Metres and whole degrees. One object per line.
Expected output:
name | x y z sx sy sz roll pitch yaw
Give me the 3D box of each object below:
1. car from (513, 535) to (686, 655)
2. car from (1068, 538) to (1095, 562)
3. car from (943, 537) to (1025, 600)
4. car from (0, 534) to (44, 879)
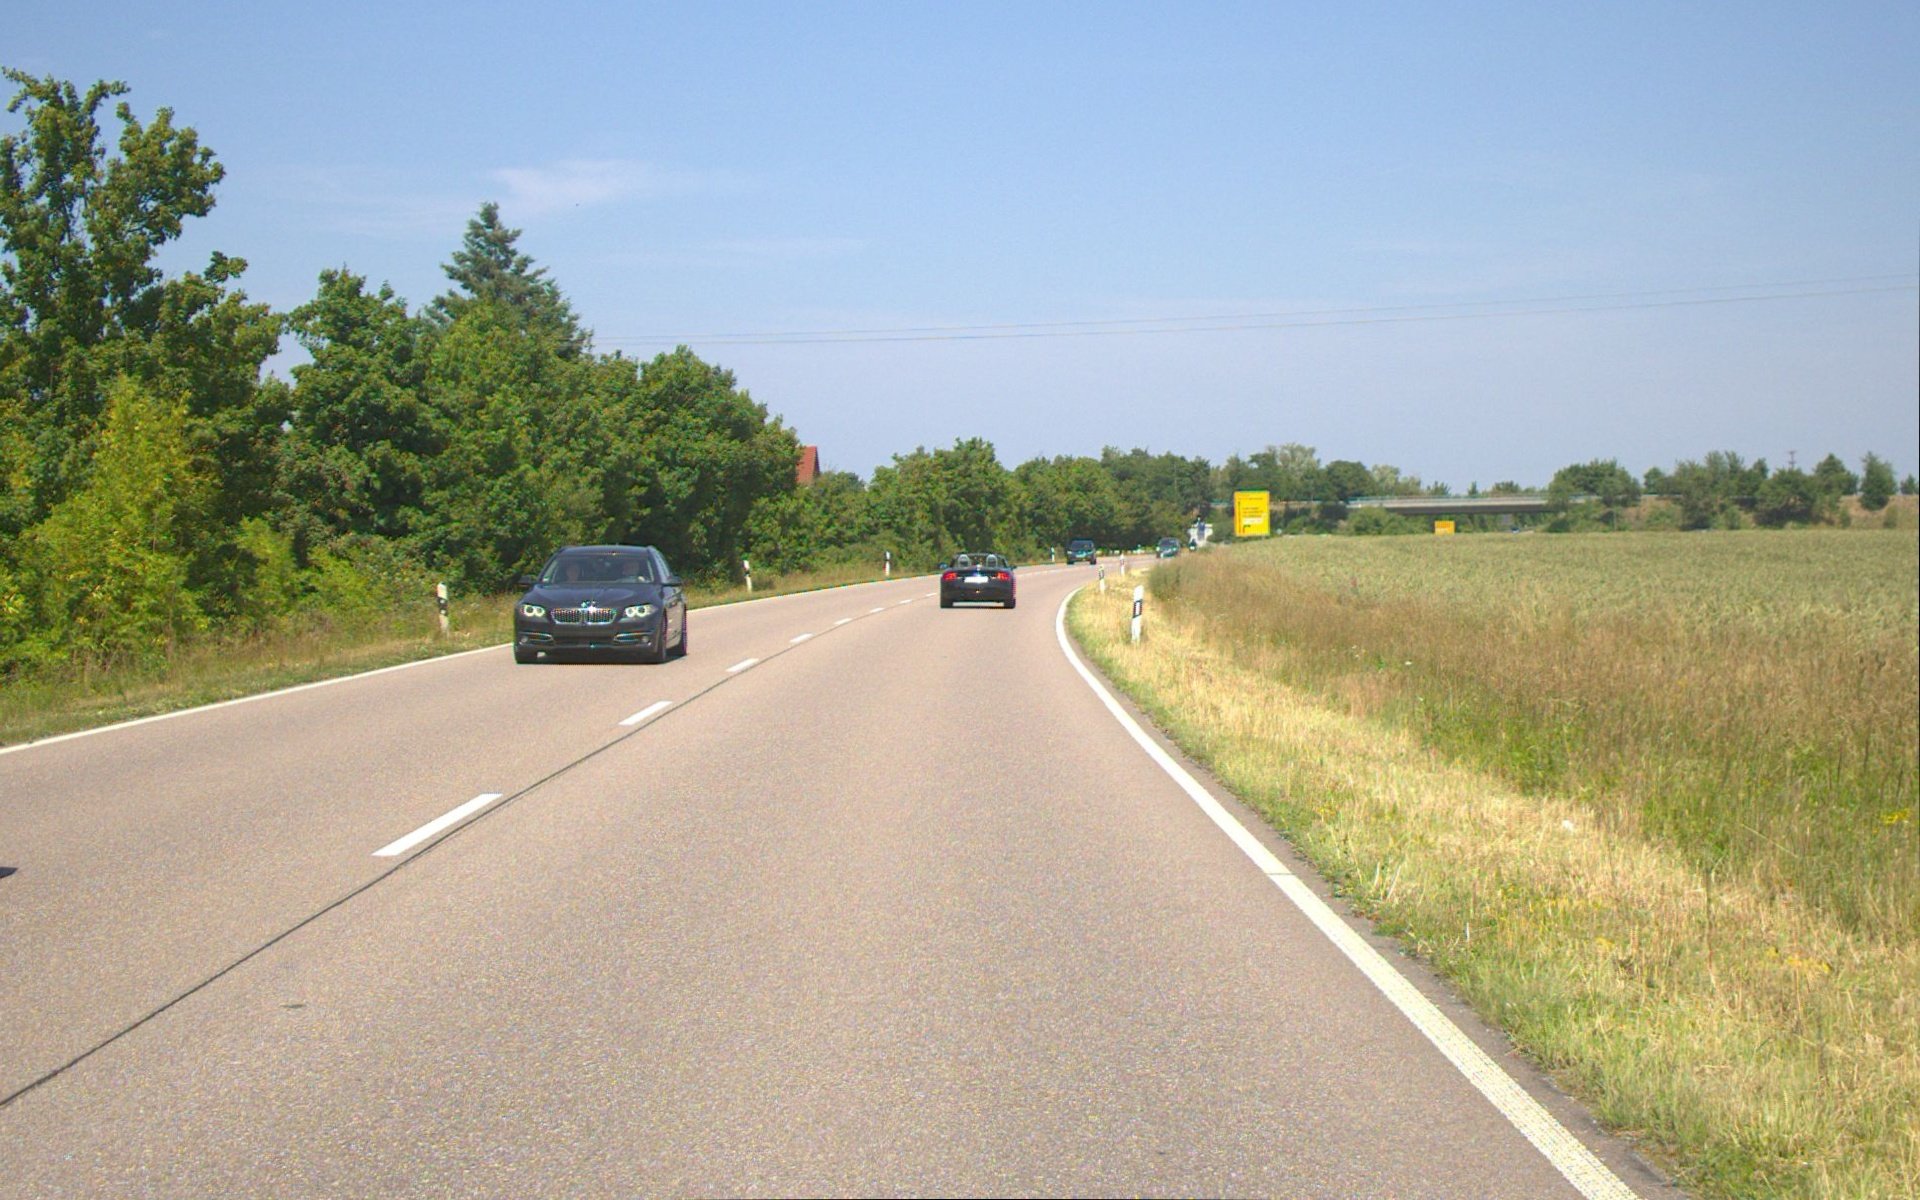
car | -4.553 -0.102 43.962 1.800 1.445 4.533 0 1 -1
car | 8.093 -3.325 228.329 1.699 1.561 3.671 0 1 3
car | 0.594 -0.763 81.956 1.814 1.436 4.000 1 1 2
car | -4.900 0.477 13.603 1.496 1.490 3.832 0 1 0
